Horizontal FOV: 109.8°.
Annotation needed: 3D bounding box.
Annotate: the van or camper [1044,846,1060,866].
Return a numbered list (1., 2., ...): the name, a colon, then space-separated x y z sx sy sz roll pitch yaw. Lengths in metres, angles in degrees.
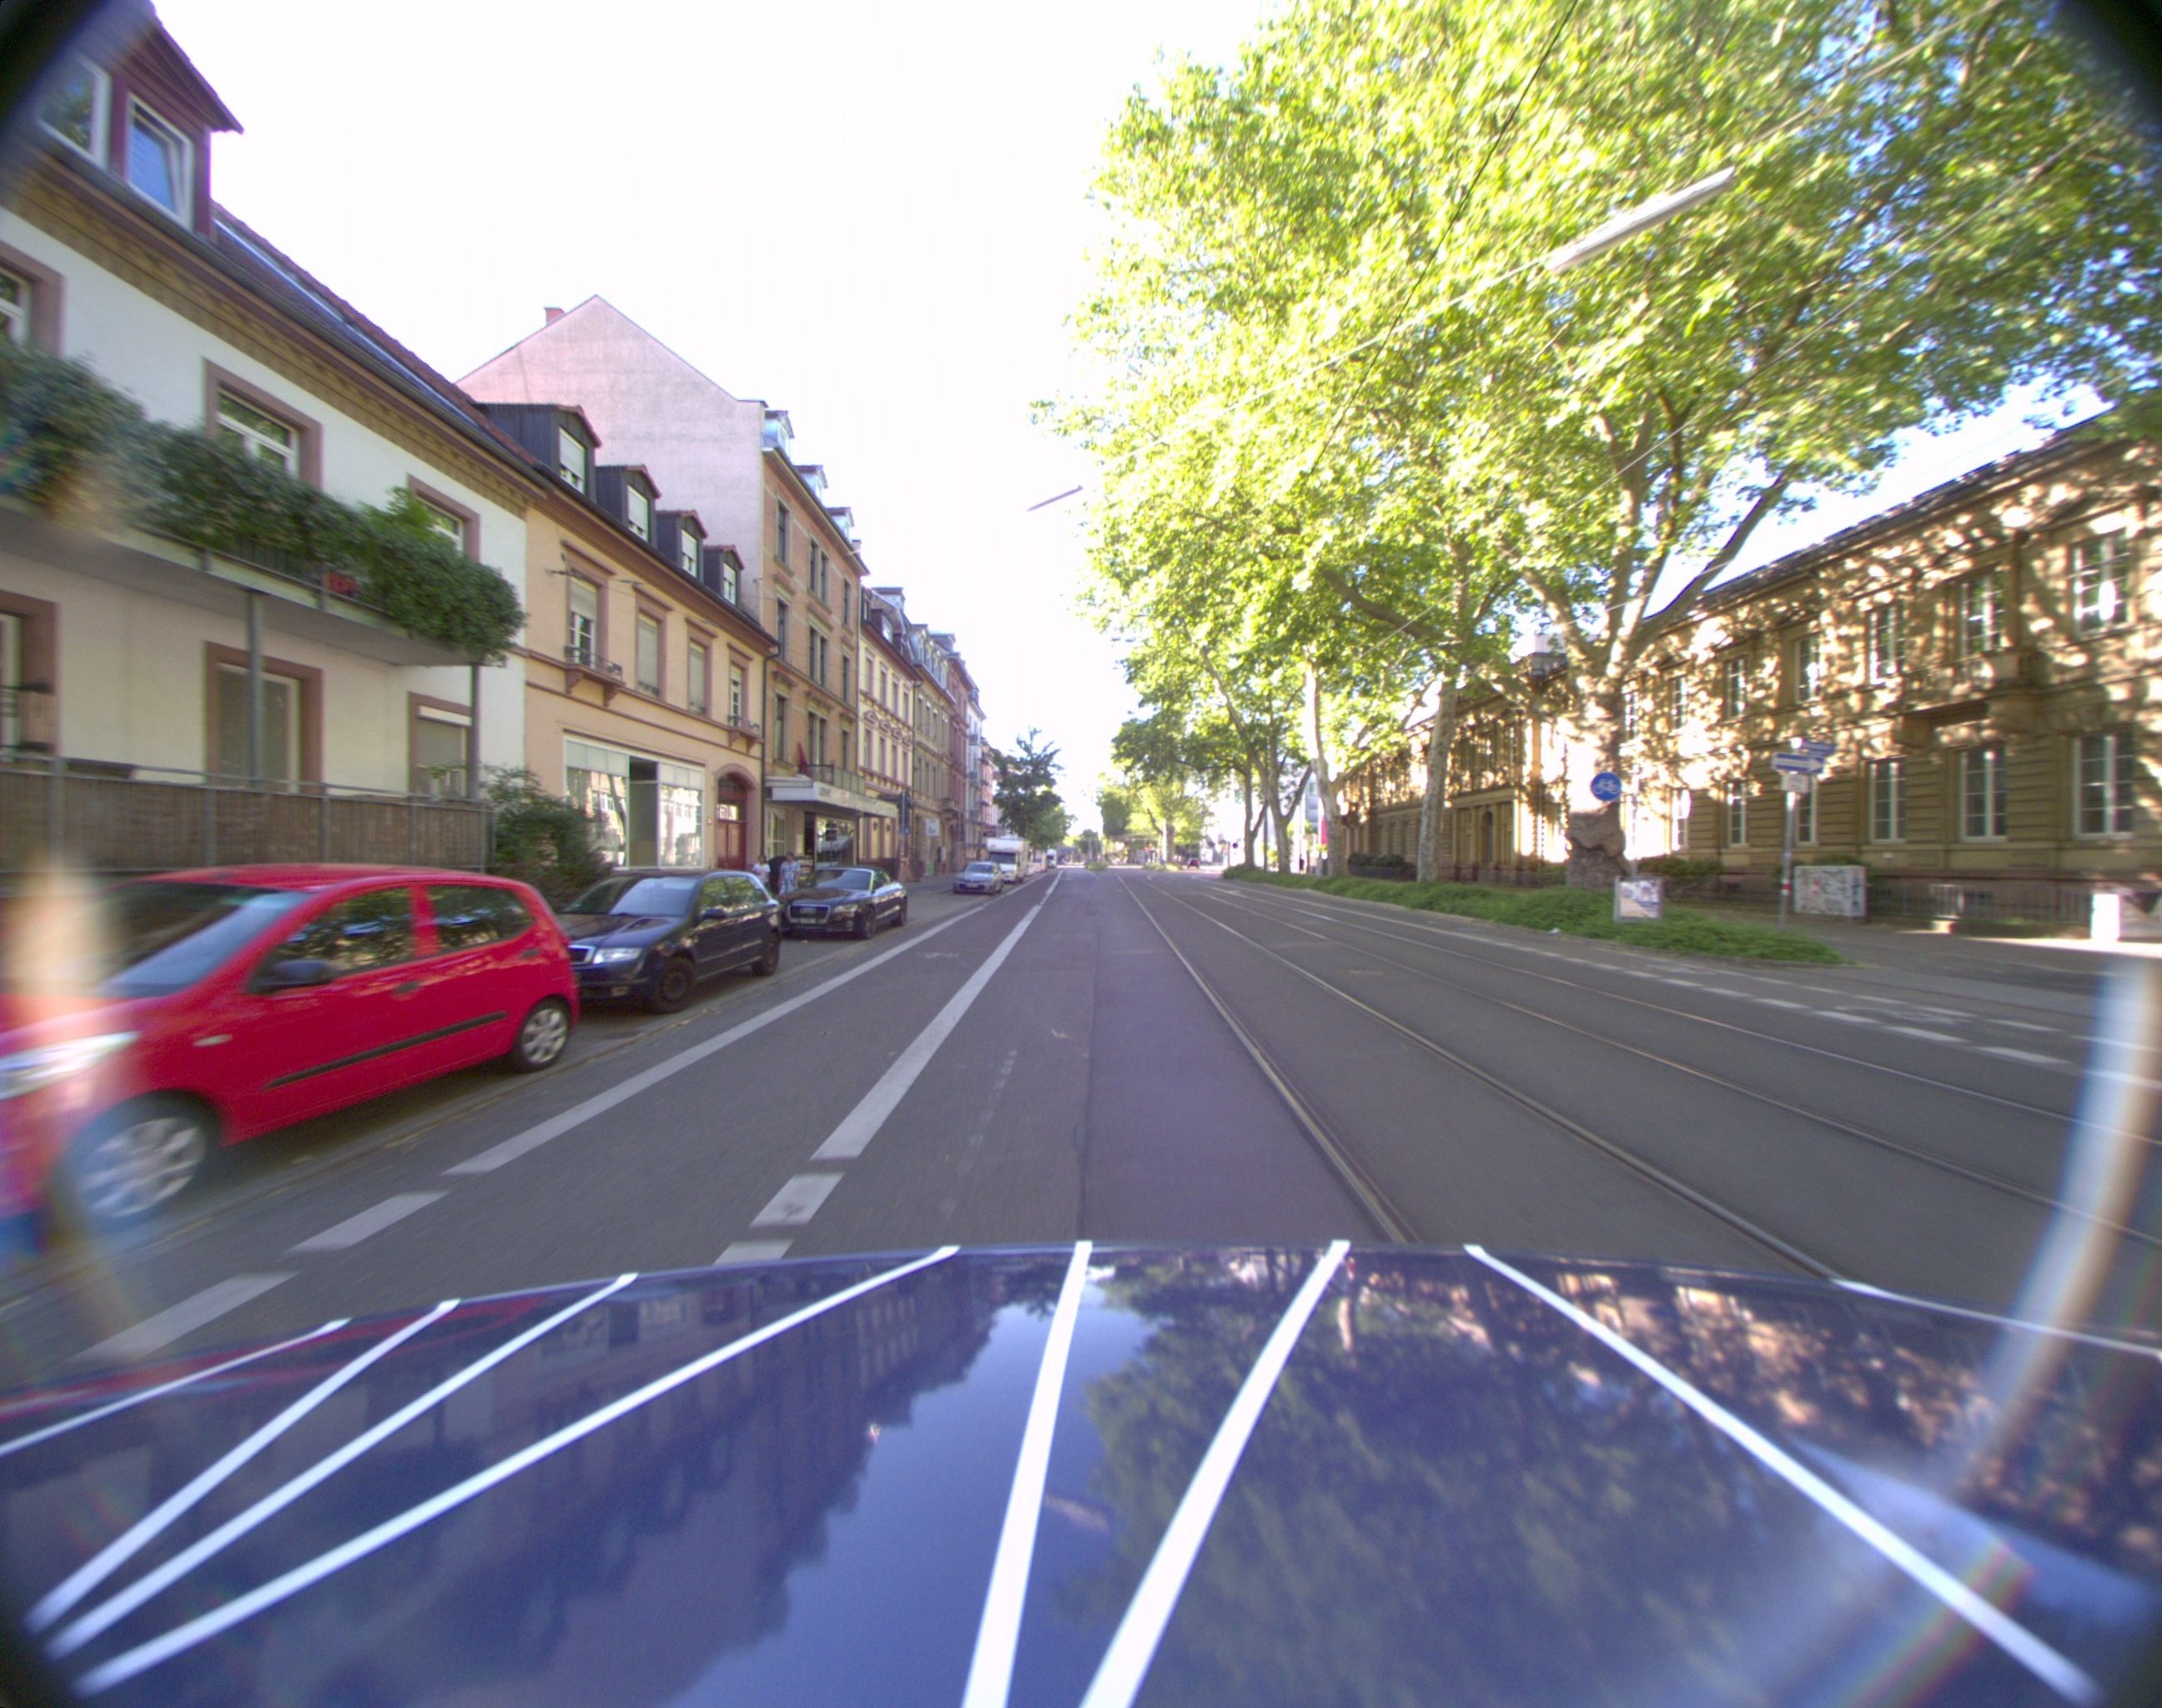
1. van or camper: -4.626 0.267 123.723 2.173 3.074 7.290 2 0 1

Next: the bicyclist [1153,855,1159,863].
1. bicyclist: 13.733 0.903 139.154 1.007 1.567 0.760 0 1 1

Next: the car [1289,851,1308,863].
1. car: 33.606 0.498 117.531 1.852 1.807 4.000 0 0 1

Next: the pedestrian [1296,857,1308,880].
1. pedestrian: 17.464 1.157 60.033 0.720 1.838 0.838 0 1 4

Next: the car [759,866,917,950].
1. car: -4.848 1.002 15.878 1.698 1.384 4.495 2 0 2

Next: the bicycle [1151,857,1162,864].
1. bicycle: 13.827 1.189 139.157 2.082 1.122 0.760 0 1 1

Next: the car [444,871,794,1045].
1. car: -4.947 0.993 8.861 1.655 1.448 3.868 1 0 1

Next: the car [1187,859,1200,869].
1. car: 18.736 1.614 126.942 1.870 1.620 4.562 1 -1 5

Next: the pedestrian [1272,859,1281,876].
1. pedestrian: 19.302 1.333 74.904 0.673 1.687 0.661 0 1 -7

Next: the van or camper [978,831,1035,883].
1. van or camper: -4.716 0.171 49.530 2.483 2.954 7.884 4 0 2

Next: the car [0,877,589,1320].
1. car: -4.860 0.982 4.370 1.638 1.537 3.576 1 0 2

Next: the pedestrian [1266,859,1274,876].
1. pedestrian: 18.599 1.318 74.816 0.636 1.687 0.656 0 1 -7

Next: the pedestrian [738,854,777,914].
1. pedestrian: -8.197 0.743 19.284 0.659 1.474 0.785 0 1 0

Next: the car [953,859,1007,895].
1. car: -4.594 1.011 35.156 1.814 1.426 4.664 2 0 0

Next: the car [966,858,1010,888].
1. car: -4.913 0.981 40.616 1.649 1.425 4.029 4 0 2

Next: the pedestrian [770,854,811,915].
1. pedestrian: -7.362 0.761 19.287 0.662 1.496 0.866 1 1 0

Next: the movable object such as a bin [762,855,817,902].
1. movable object such as a bin: -9.495 0.784 24.836 1.296 1.511 1.286 0 0 1

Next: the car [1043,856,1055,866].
1. car: -4.775 1.056 113.509 1.656 1.439 3.800 2 0 -1
